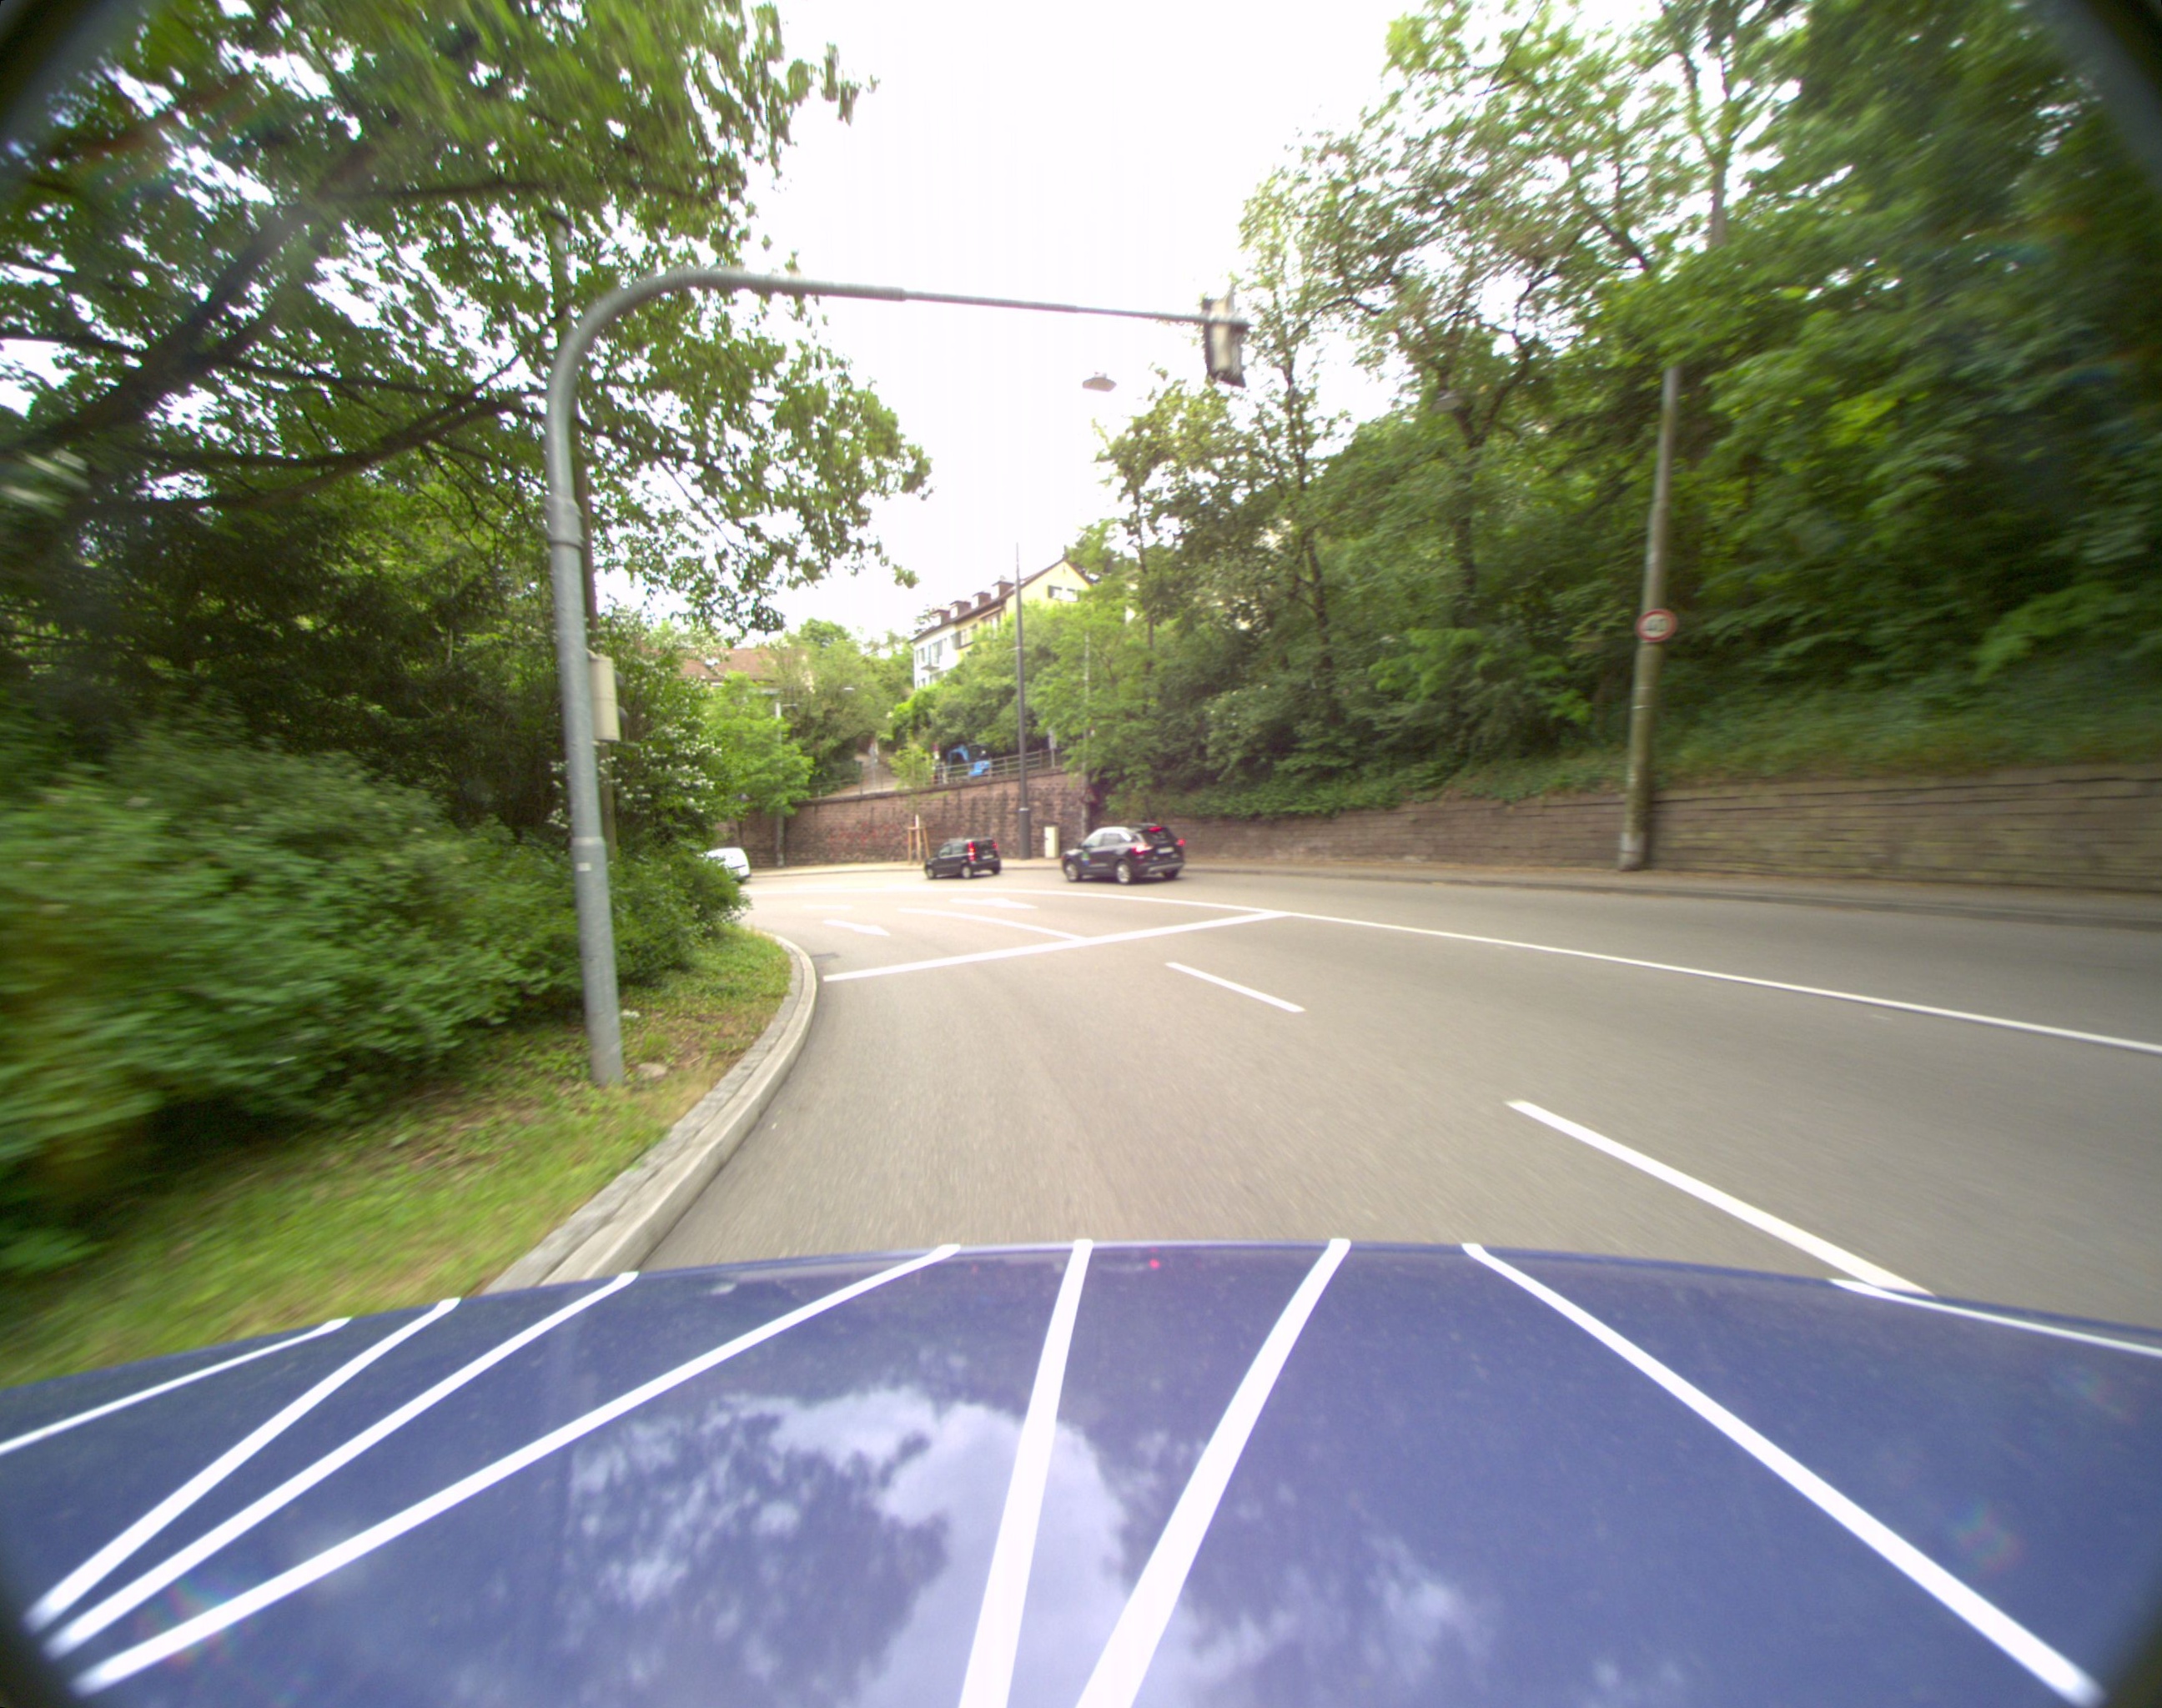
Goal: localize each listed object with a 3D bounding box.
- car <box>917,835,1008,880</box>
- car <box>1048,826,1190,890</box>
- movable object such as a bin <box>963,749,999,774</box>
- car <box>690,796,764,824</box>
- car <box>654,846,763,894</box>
[{"bbox_3d":[-4.679,0.148,29.824,3.650,1.517,1.513,-3,4,44],"label":"car"},{"bbox_3d":[1.003,0.087,22.786,1.762,1.616,4.637,-6,3,-33],"label":"car"},{"bbox_3d":[-6.123,-5.646,46.427,1.601,1.349,1.254,-3,4,31],"label":"movable object such as a bin"},{"bbox_3d":[-24.027,-3.007,51.705,4.060,1.632,1.773,-3,7,5],"label":"car"},{"bbox_3d":[-18.244,0.787,37.261,4.660,1.756,1.828,-5,7,20],"label":"car"}]
